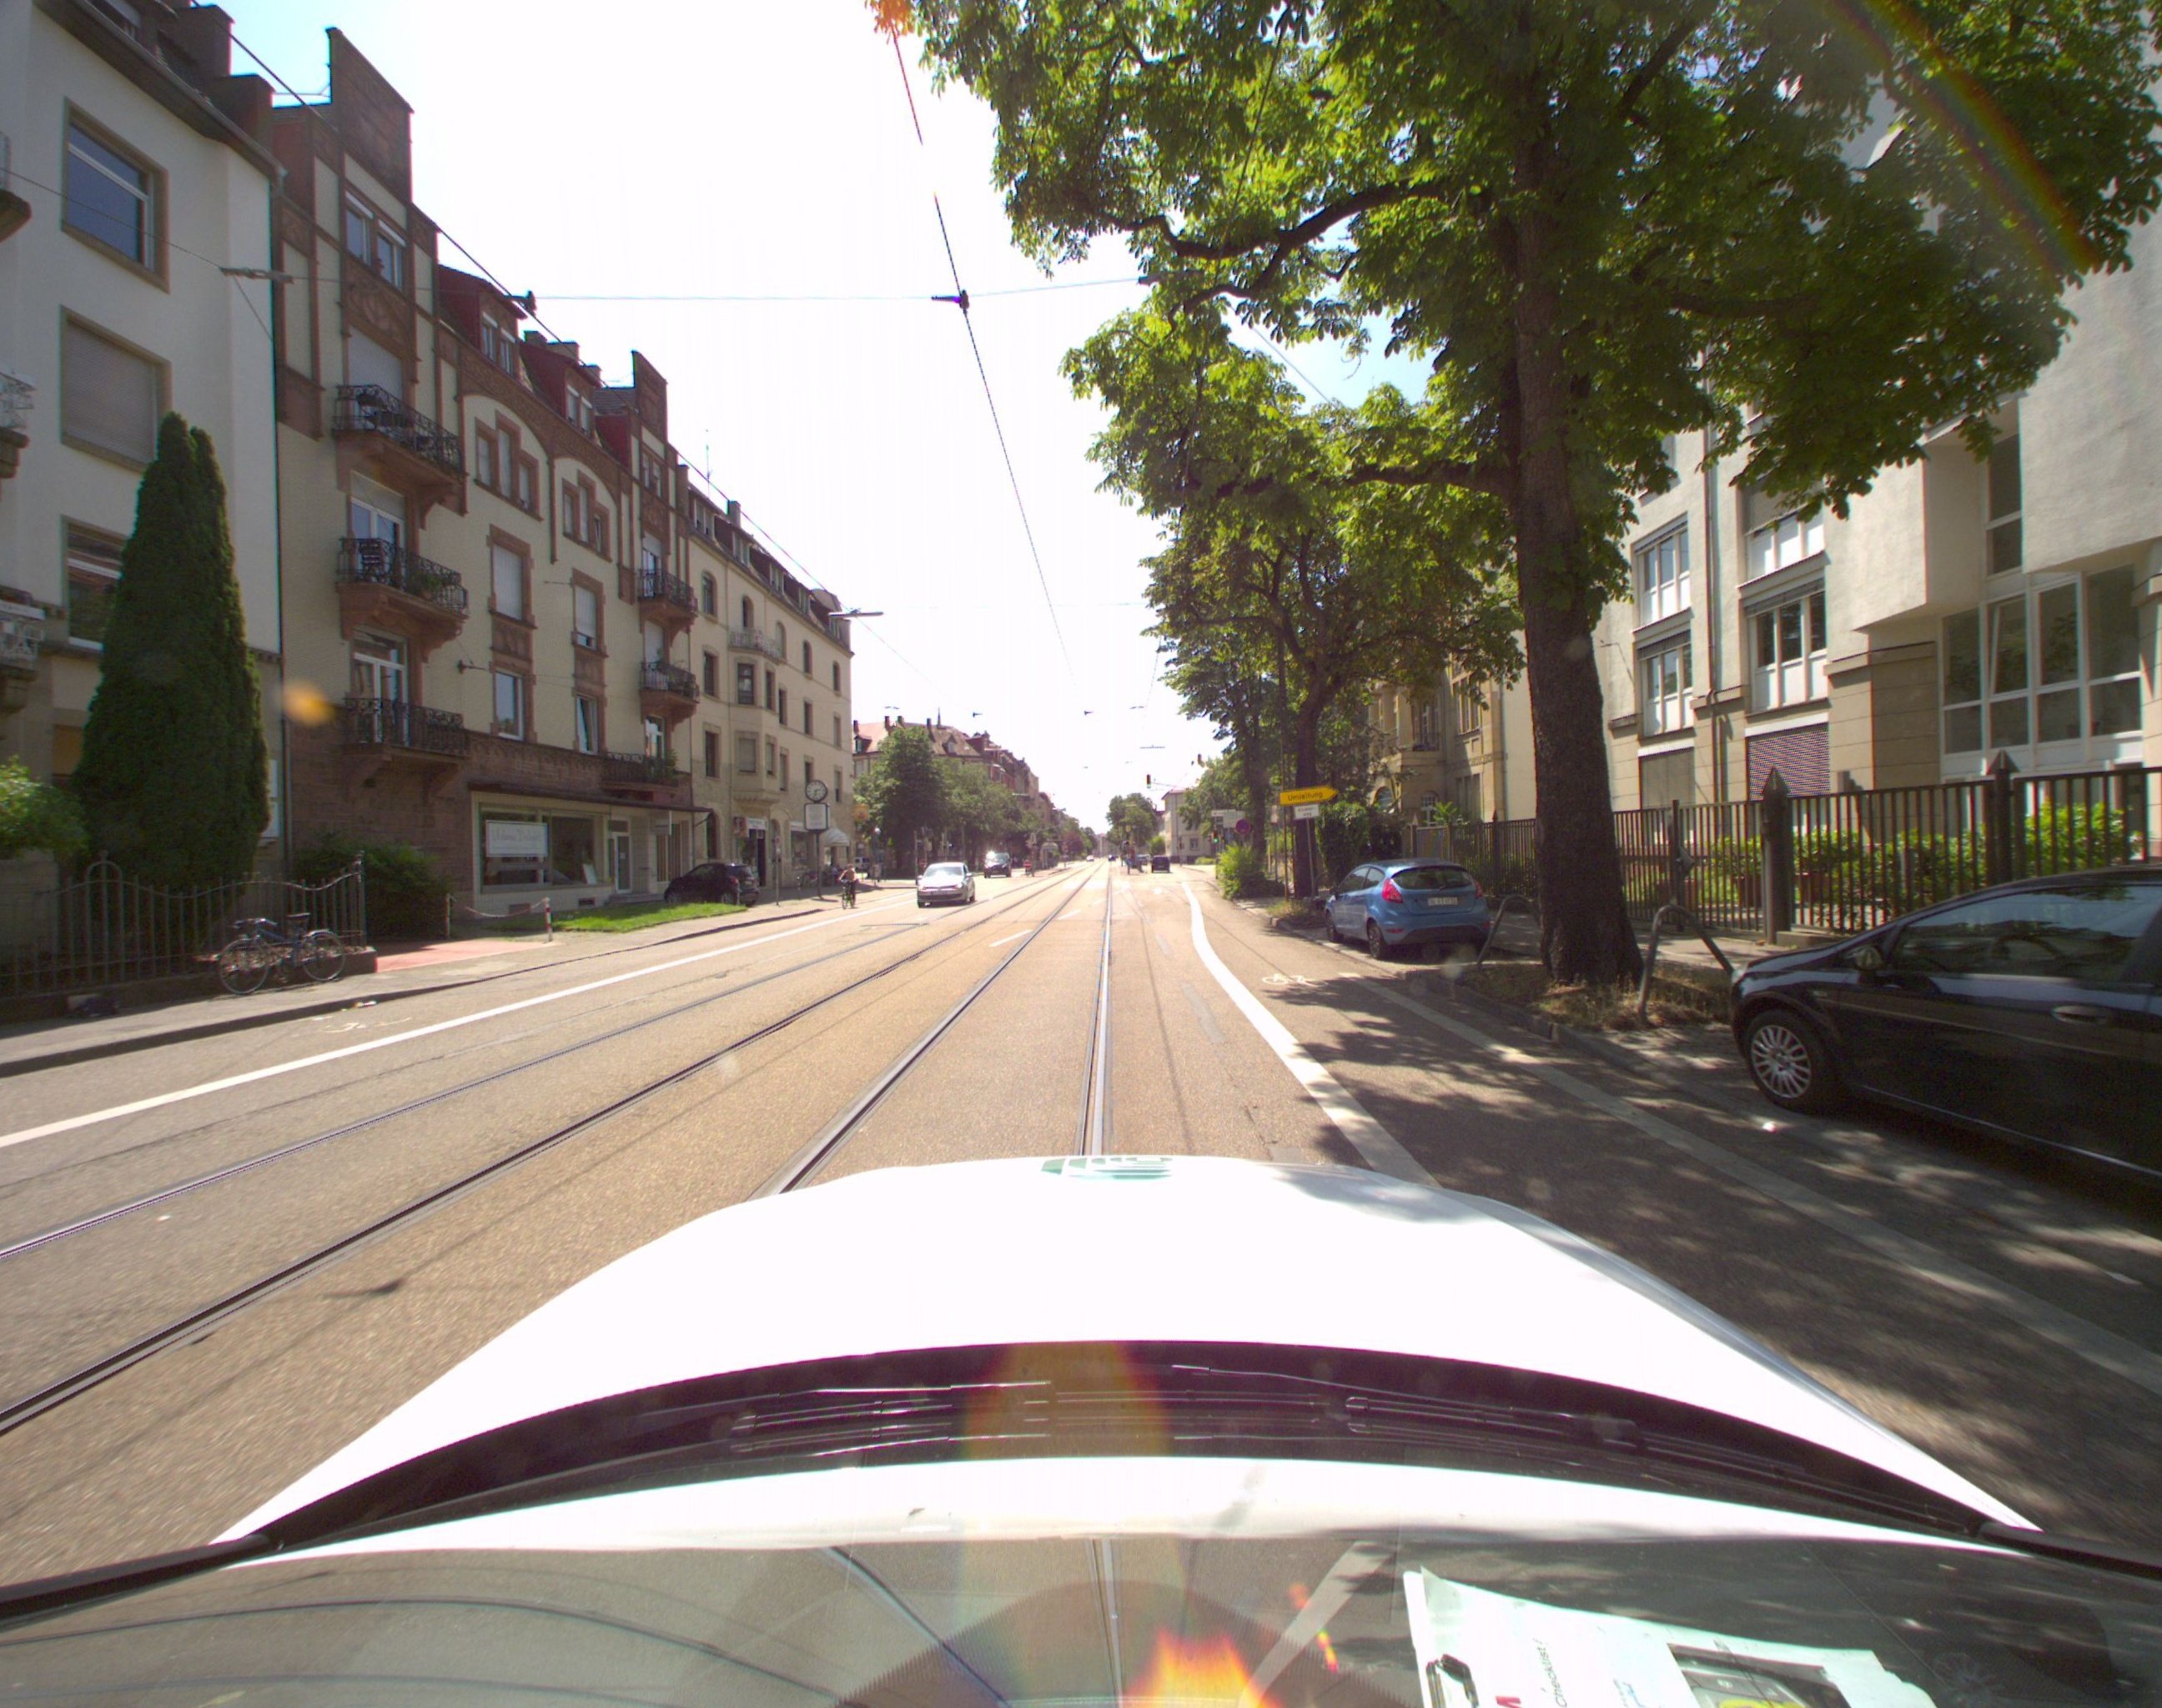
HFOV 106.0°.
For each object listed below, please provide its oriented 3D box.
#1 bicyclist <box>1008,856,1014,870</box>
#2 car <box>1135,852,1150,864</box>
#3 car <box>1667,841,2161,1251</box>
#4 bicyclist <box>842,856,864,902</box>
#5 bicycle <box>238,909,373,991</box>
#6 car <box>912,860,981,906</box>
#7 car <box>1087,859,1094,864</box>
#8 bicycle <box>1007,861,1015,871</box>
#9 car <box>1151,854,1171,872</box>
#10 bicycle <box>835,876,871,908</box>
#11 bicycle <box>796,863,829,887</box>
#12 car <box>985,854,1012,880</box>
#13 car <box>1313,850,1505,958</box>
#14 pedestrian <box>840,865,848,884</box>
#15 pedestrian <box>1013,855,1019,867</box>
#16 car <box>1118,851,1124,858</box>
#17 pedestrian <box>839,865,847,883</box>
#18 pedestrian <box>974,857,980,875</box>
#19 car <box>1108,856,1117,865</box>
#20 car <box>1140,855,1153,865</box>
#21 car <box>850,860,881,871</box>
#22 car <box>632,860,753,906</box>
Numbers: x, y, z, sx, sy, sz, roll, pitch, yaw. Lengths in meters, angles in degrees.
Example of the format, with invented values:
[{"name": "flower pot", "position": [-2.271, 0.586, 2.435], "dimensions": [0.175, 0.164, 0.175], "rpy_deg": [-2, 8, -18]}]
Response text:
[{"name": "bicyclist", "position": [-8.054, 1.003, 94.269], "dimensions": [0.606, 1.574, 0.585], "rpy_deg": [-1, -1, 1]}, {"name": "car", "position": [8.490, 0.576, 112.492], "dimensions": [1.522, 1.456, 3.360], "rpy_deg": [-3, -1, -4]}, {"name": "car", "position": [4.892, 0.712, 3.710], "dimensions": [1.671, 1.497, 3.921], "rpy_deg": [-3, -1, 2]}, {"name": "bicyclist", "position": [-8.387, 0.899, 29.979], "dimensions": [0.608, 1.663, 0.579], "rpy_deg": [-2, 0, 1]}, {"name": "bicycle", "position": [-10.457, 1.264, 11.049], "dimensions": [0.251, 0.917, 1.615], "rpy_deg": [-1, 0, 1]}, {"name": "car", "position": [-4.636, 0.964, 28.566], "dimensions": [1.702, 1.412, 3.824], "rpy_deg": [-3, -1, 0]}, {"name": "car", "position": [2.302, 1.792, 196.623], "dimensions": [1.536, 1.339, 3.718], "rpy_deg": [-1, -1, 0]}, {"name": "bicycle", "position": [-8.086, 1.368, 94.142], "dimensions": [0.626, 1.157, 1.978], "rpy_deg": [-1, 0, 1]}, {"name": "car", "position": [6.961, 0.749, 70.982], "dimensions": [1.519, 1.444, 3.366], "rpy_deg": [-3, -1, 2]}, {"name": "bicycle", "position": [-8.364, 1.384, 29.957], "dimensions": [0.642, 1.074, 2.187], "rpy_deg": [-2, 0, 1]}, {"name": "bicycle", "position": [-14.595, 1.137, 44.294], "dimensions": [0.450, 1.225, 2.090], "rpy_deg": [-1, -1, 21]}, {"name": "car", "position": [-6.637, 1.038, 65.816], "dimensions": [1.840, 1.938, 4.816], "rpy_deg": [-3, -1, -3]}, {"name": "car", "position": [5.237, 0.729, 13.589], "dimensions": [1.677, 1.462, 4.002], "rpy_deg": [-3, -1, 2]}, {"name": "pedestrian", "position": [-14.603, 1.242, 50.132], "dimensions": [0.404, 1.148, 0.405], "rpy_deg": [-1, -1, -2]}, {"name": "pedestrian", "position": [-9.374, 1.031, 118.051], "dimensions": [0.657, 1.615, 0.464], "rpy_deg": [0, 2, -41]}, {"name": "car", "position": [12.335, 0.228, 251.869], "dimensions": [1.986, 2.014, 4.001], "rpy_deg": [-1, -1, 2]}, {"name": "pedestrian", "position": [-14.331, 1.186, 49.067], "dimensions": [0.353, 1.089, 0.405], "rpy_deg": [-1, -1, -2]}, {"name": "pedestrian", "position": [-10.713, 1.252, 83.729], "dimensions": [0.508, 1.879, 0.494], "rpy_deg": [-1, -1, 6]}, {"name": "car", "position": [7.332, 1.454, 188.879], "dimensions": [2.039, 2.014, 4.608], "rpy_deg": [-1, -1, 2]}, {"name": "car", "position": [10.653, 1.032, 132.486], "dimensions": [1.741, 1.473, 3.938], "rpy_deg": [-4, -1, 1]}, {"name": "car", "position": [-27.614, 1.475, 104.424], "dimensions": [3.695, 1.442, 1.550], "rpy_deg": [-1, -1, 26]}, {"name": "car", "position": [-13.210, 0.969, 27.794], "dimensions": [3.337, 1.472, 1.532], "rpy_deg": [1, 0, 5]}]
